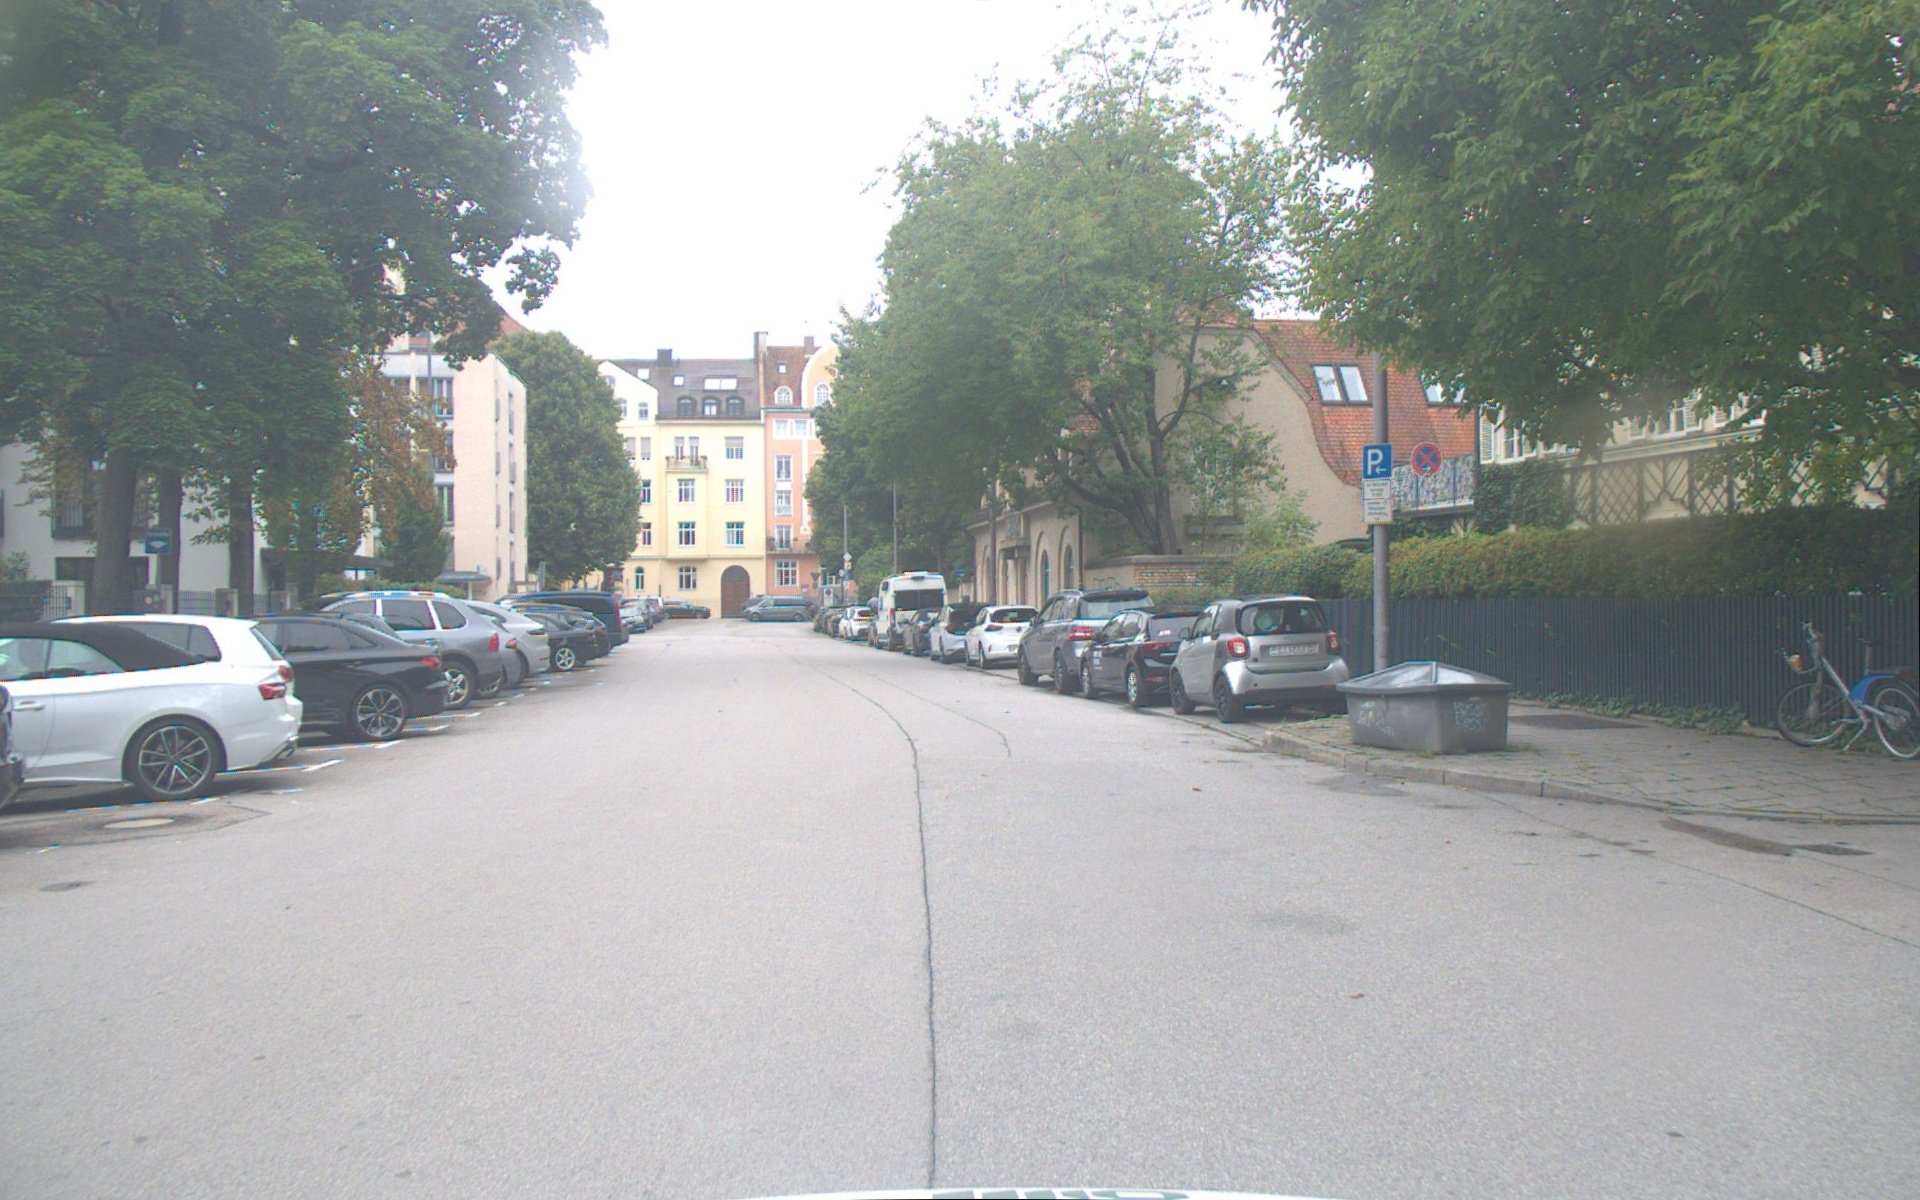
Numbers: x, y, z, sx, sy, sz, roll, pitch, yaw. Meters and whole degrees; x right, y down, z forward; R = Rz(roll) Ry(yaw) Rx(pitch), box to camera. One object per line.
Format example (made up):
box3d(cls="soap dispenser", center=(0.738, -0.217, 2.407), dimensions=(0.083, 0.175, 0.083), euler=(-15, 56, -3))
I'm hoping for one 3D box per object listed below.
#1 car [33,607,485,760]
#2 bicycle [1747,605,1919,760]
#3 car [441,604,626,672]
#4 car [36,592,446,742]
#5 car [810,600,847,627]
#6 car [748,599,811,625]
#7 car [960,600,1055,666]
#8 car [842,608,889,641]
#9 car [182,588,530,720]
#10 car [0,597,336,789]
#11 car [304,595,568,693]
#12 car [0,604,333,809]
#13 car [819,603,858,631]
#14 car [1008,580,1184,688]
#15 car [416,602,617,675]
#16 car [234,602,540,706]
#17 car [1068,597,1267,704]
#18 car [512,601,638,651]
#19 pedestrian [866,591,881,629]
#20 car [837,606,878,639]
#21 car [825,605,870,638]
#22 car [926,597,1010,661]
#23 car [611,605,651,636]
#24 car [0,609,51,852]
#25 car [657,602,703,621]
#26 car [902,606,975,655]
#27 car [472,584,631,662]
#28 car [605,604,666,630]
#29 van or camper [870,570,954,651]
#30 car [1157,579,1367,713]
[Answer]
box3d(cls="car", center=(-7.844, 0.860, 18.702), dimensions=(4.370, 1.464, 1.938), euler=(-1, -1, -39))
box3d(cls="bicycle", center=(7.618, 0.647, 13.962), dimensions=(0.791, 1.182, 1.969), euler=(-1, 0, -8))
box3d(cls="car", center=(-10.627, 0.920, 41.268), dimensions=(4.159, 1.487, 1.720), euler=(-2, 0, -30))
box3d(cls="car", center=(-8.950, 0.764, 20.781), dimensions=(4.373, 1.658, 1.936), euler=(-1, -1, -41))
box3d(cls="car", center=(-7.558, 0.767, 94.743), dimensions=(1.640, 1.367, 3.828), euler=(-2, 2, -11))
box3d(cls="car", center=(-13.604, 0.883, 124.300), dimensions=(4.618, 1.913, 1.836), euler=(0, -1, -10))
box3d(cls="car", center=(1.091, 0.774, 39.776), dimensions=(1.653, 1.466, 3.993), euler=(-2, -1, -8))
box3d(cls="car", center=(-4.342, 1.094, 75.452), dimensions=(1.676, 1.432, 4.121), euler=(-2, 0, -9))
box3d(cls="car", center=(-8.804, 0.729, 24.292), dimensions=(4.373, 1.729, 2.105), euler=(-1, -1, -41))
box3d(cls="car", center=(-8.379, 0.867, 15.449), dimensions=(4.461, 1.536, 1.910), euler=(-3, 0, -33))
box3d(cls="car", center=(-9.689, 0.769, 30.613), dimensions=(4.351, 1.649, 2.066), euler=(-1, -1, -30))
box3d(cls="car", center=(-7.535, 0.830, 13.195), dimensions=(4.460, 1.476, 1.876), euler=(-1, 0, -33))
box3d(cls="car", center=(-6.623, 0.901, 89.917), dimensions=(1.640, 1.367, 3.828), euler=(-2, 2, -11))
box3d(cls="car", center=(2.372, 0.576, 30.288), dimensions=(1.958, 1.741, 4.872), euler=(-2, 0, -11))
box3d(cls="car", center=(-10.288, 0.870, 38.513), dimensions=(4.177, 1.487, 1.713), euler=(-2, 0, -39))
box3d(cls="car", center=(-9.369, 0.840, 27.221), dimensions=(4.371, 1.517, 1.988), euler=(-1, -1, -40))
box3d(cls="car", center=(3.112, 0.721, 25.712), dimensions=(1.843, 1.452, 4.211), euler=(-2, 0, -11))
box3d(cls="car", center=(-13.925, 0.935, 59.918), dimensions=(4.082, 1.637, 1.712), euler=(-2, 0, -41))
box3d(cls="pedestrian", center=(-4.668, 0.532, 89.395), dimensions=(0.758, 2.049, 0.561), euler=(0, 0, -9))
box3d(cls="car", center=(-4.999, 1.070, 80.342), dimensions=(1.675, 1.491, 3.831), euler=(-2, 0, -7))
box3d(cls="car", center=(-5.789, 1.076, 84.555), dimensions=(1.771, 1.491, 3.826), euler=(-2, 2, -12))
box3d(cls="car", center=(0.160, 0.757, 44.824), dimensions=(1.675, 1.564, 4.232), euler=(-3, 0, -8))
box3d(cls="car", center=(-18.115, 1.128, 91.151), dimensions=(1.800, 1.534, 3.993), euler=(-4, 0, -8))
box3d(cls="car", center=(-7.911, 0.845, 9.860), dimensions=(4.334, 1.476, 1.641), euler=(-1, 0, -30))
box3d(cls="car", center=(-24.608, 1.012, 145.353), dimensions=(3.911, 1.614, 1.700), euler=(-1, 0, -7))
box3d(cls="car", center=(-0.703, 0.898, 50.541), dimensions=(1.675, 1.393, 4.432), euler=(-2, 0, -8))
box3d(cls="car", center=(-12.007, 0.648, 48.739), dimensions=(4.174, 2.102, 1.714), euler=(-2, 0, -38))
box3d(cls="car", center=(-22.144, 1.164, 112.896), dimensions=(3.914, 1.534, 1.836), euler=(-4, 0, -9))
box3d(cls="van or camper", center=(-1.718, 0.342, 57.322), dimensions=(2.152, 2.595, 5.716), euler=(-2, 0, -9))
box3d(cls="car", center=(3.872, 0.587, 21.649), dimensions=(1.708, 1.563, 2.938), euler=(-2, -1, -11))
